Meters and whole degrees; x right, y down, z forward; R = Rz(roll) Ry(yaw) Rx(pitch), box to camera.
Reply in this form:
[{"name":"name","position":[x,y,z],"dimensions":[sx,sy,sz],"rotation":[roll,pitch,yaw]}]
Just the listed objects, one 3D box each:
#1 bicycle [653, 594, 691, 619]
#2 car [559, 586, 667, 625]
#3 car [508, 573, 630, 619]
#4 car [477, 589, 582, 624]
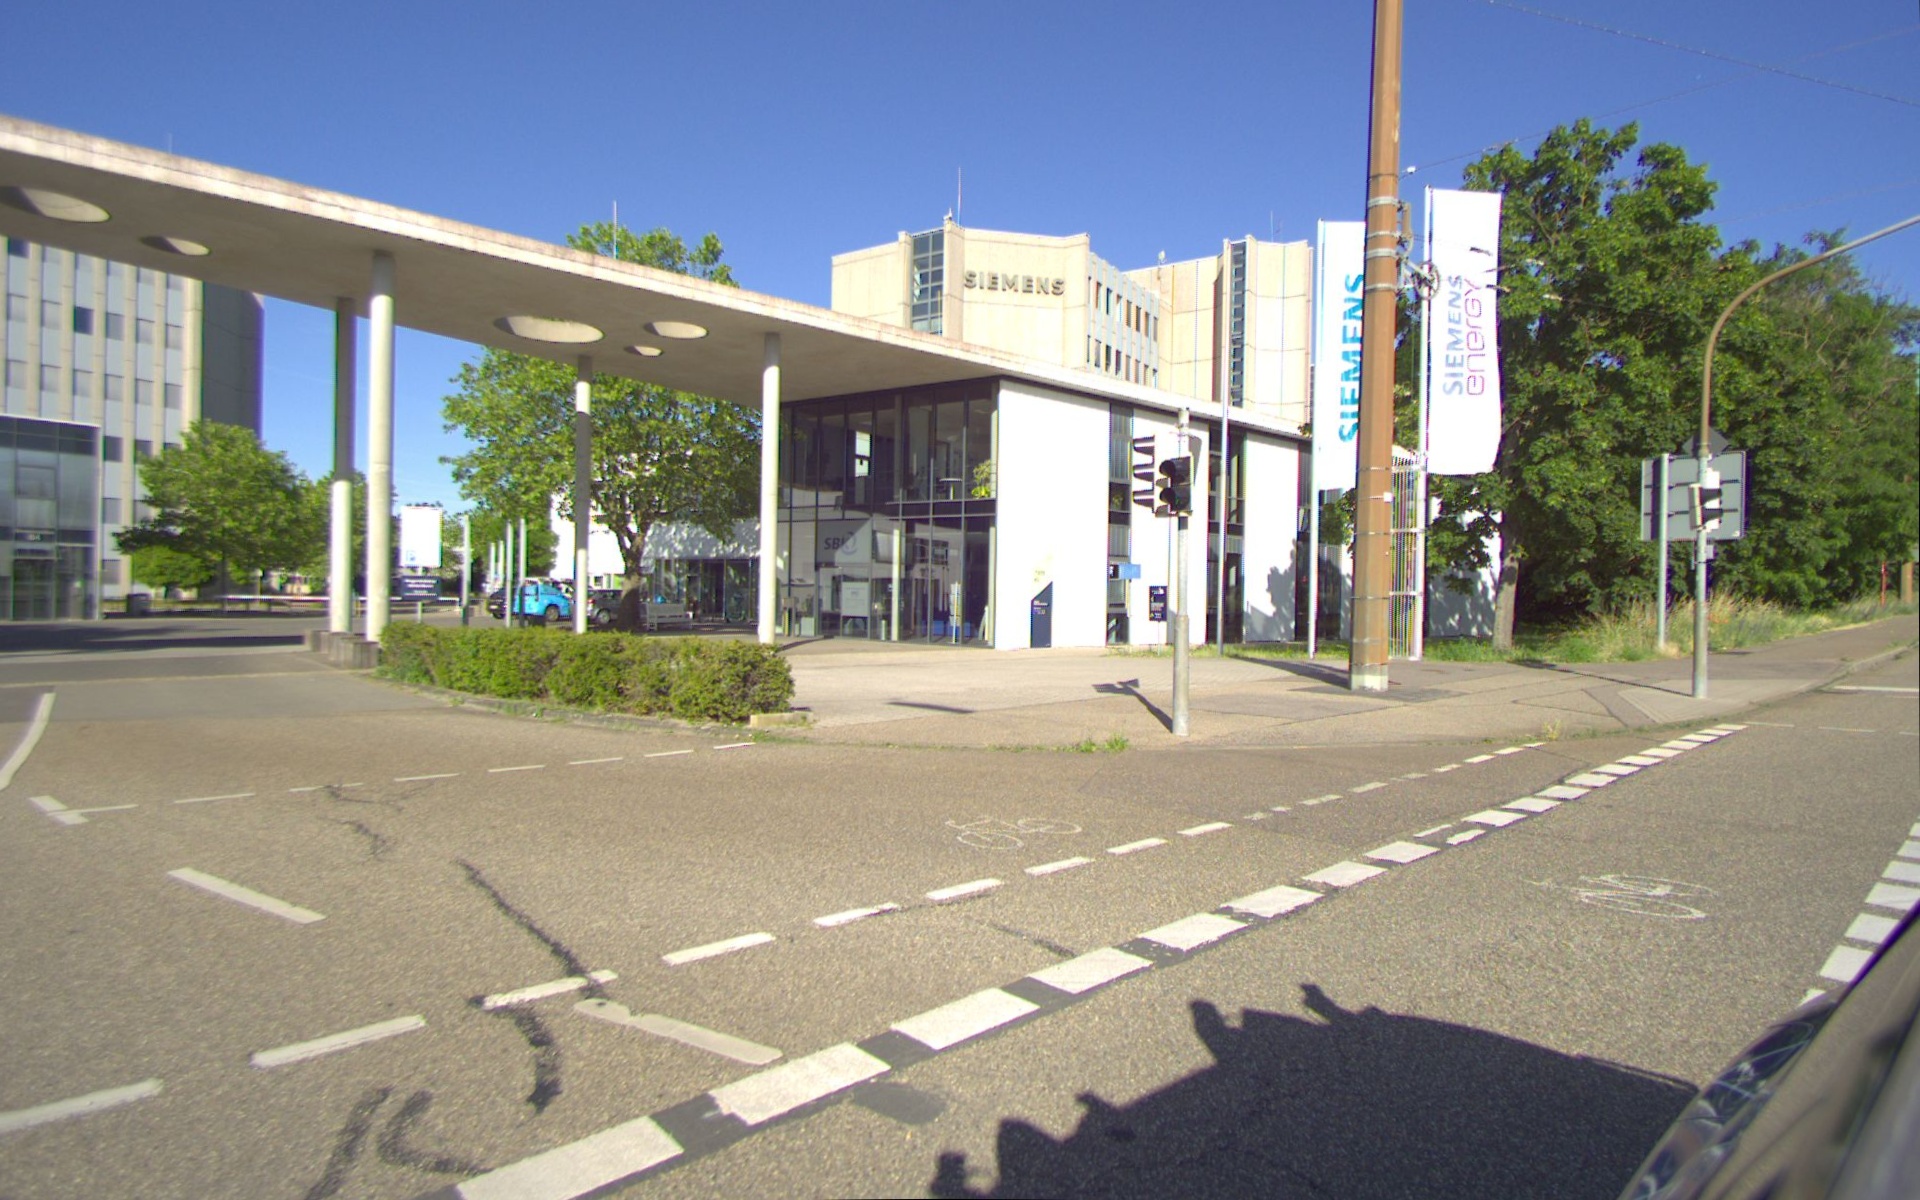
[{"name":"bicycle","position":[-13.403,0.288,47.123],"dimensions":[0.607,1.150,1.712],"rotation":[0,1,33]},{"name":"car","position":[-14.117,0.185,41.311],"dimensions":[1.766,1.462,3.953],"rotation":[1,1,33]},{"name":"car","position":[-16.416,-0.195,42.685],"dimensions":[1.766,1.819,4.669],"rotation":[1,1,33]},{"name":"car","position":[-18.761,0.251,44.218],"dimensions":[1.766,1.462,3.953],"rotation":[1,1,33]}]
